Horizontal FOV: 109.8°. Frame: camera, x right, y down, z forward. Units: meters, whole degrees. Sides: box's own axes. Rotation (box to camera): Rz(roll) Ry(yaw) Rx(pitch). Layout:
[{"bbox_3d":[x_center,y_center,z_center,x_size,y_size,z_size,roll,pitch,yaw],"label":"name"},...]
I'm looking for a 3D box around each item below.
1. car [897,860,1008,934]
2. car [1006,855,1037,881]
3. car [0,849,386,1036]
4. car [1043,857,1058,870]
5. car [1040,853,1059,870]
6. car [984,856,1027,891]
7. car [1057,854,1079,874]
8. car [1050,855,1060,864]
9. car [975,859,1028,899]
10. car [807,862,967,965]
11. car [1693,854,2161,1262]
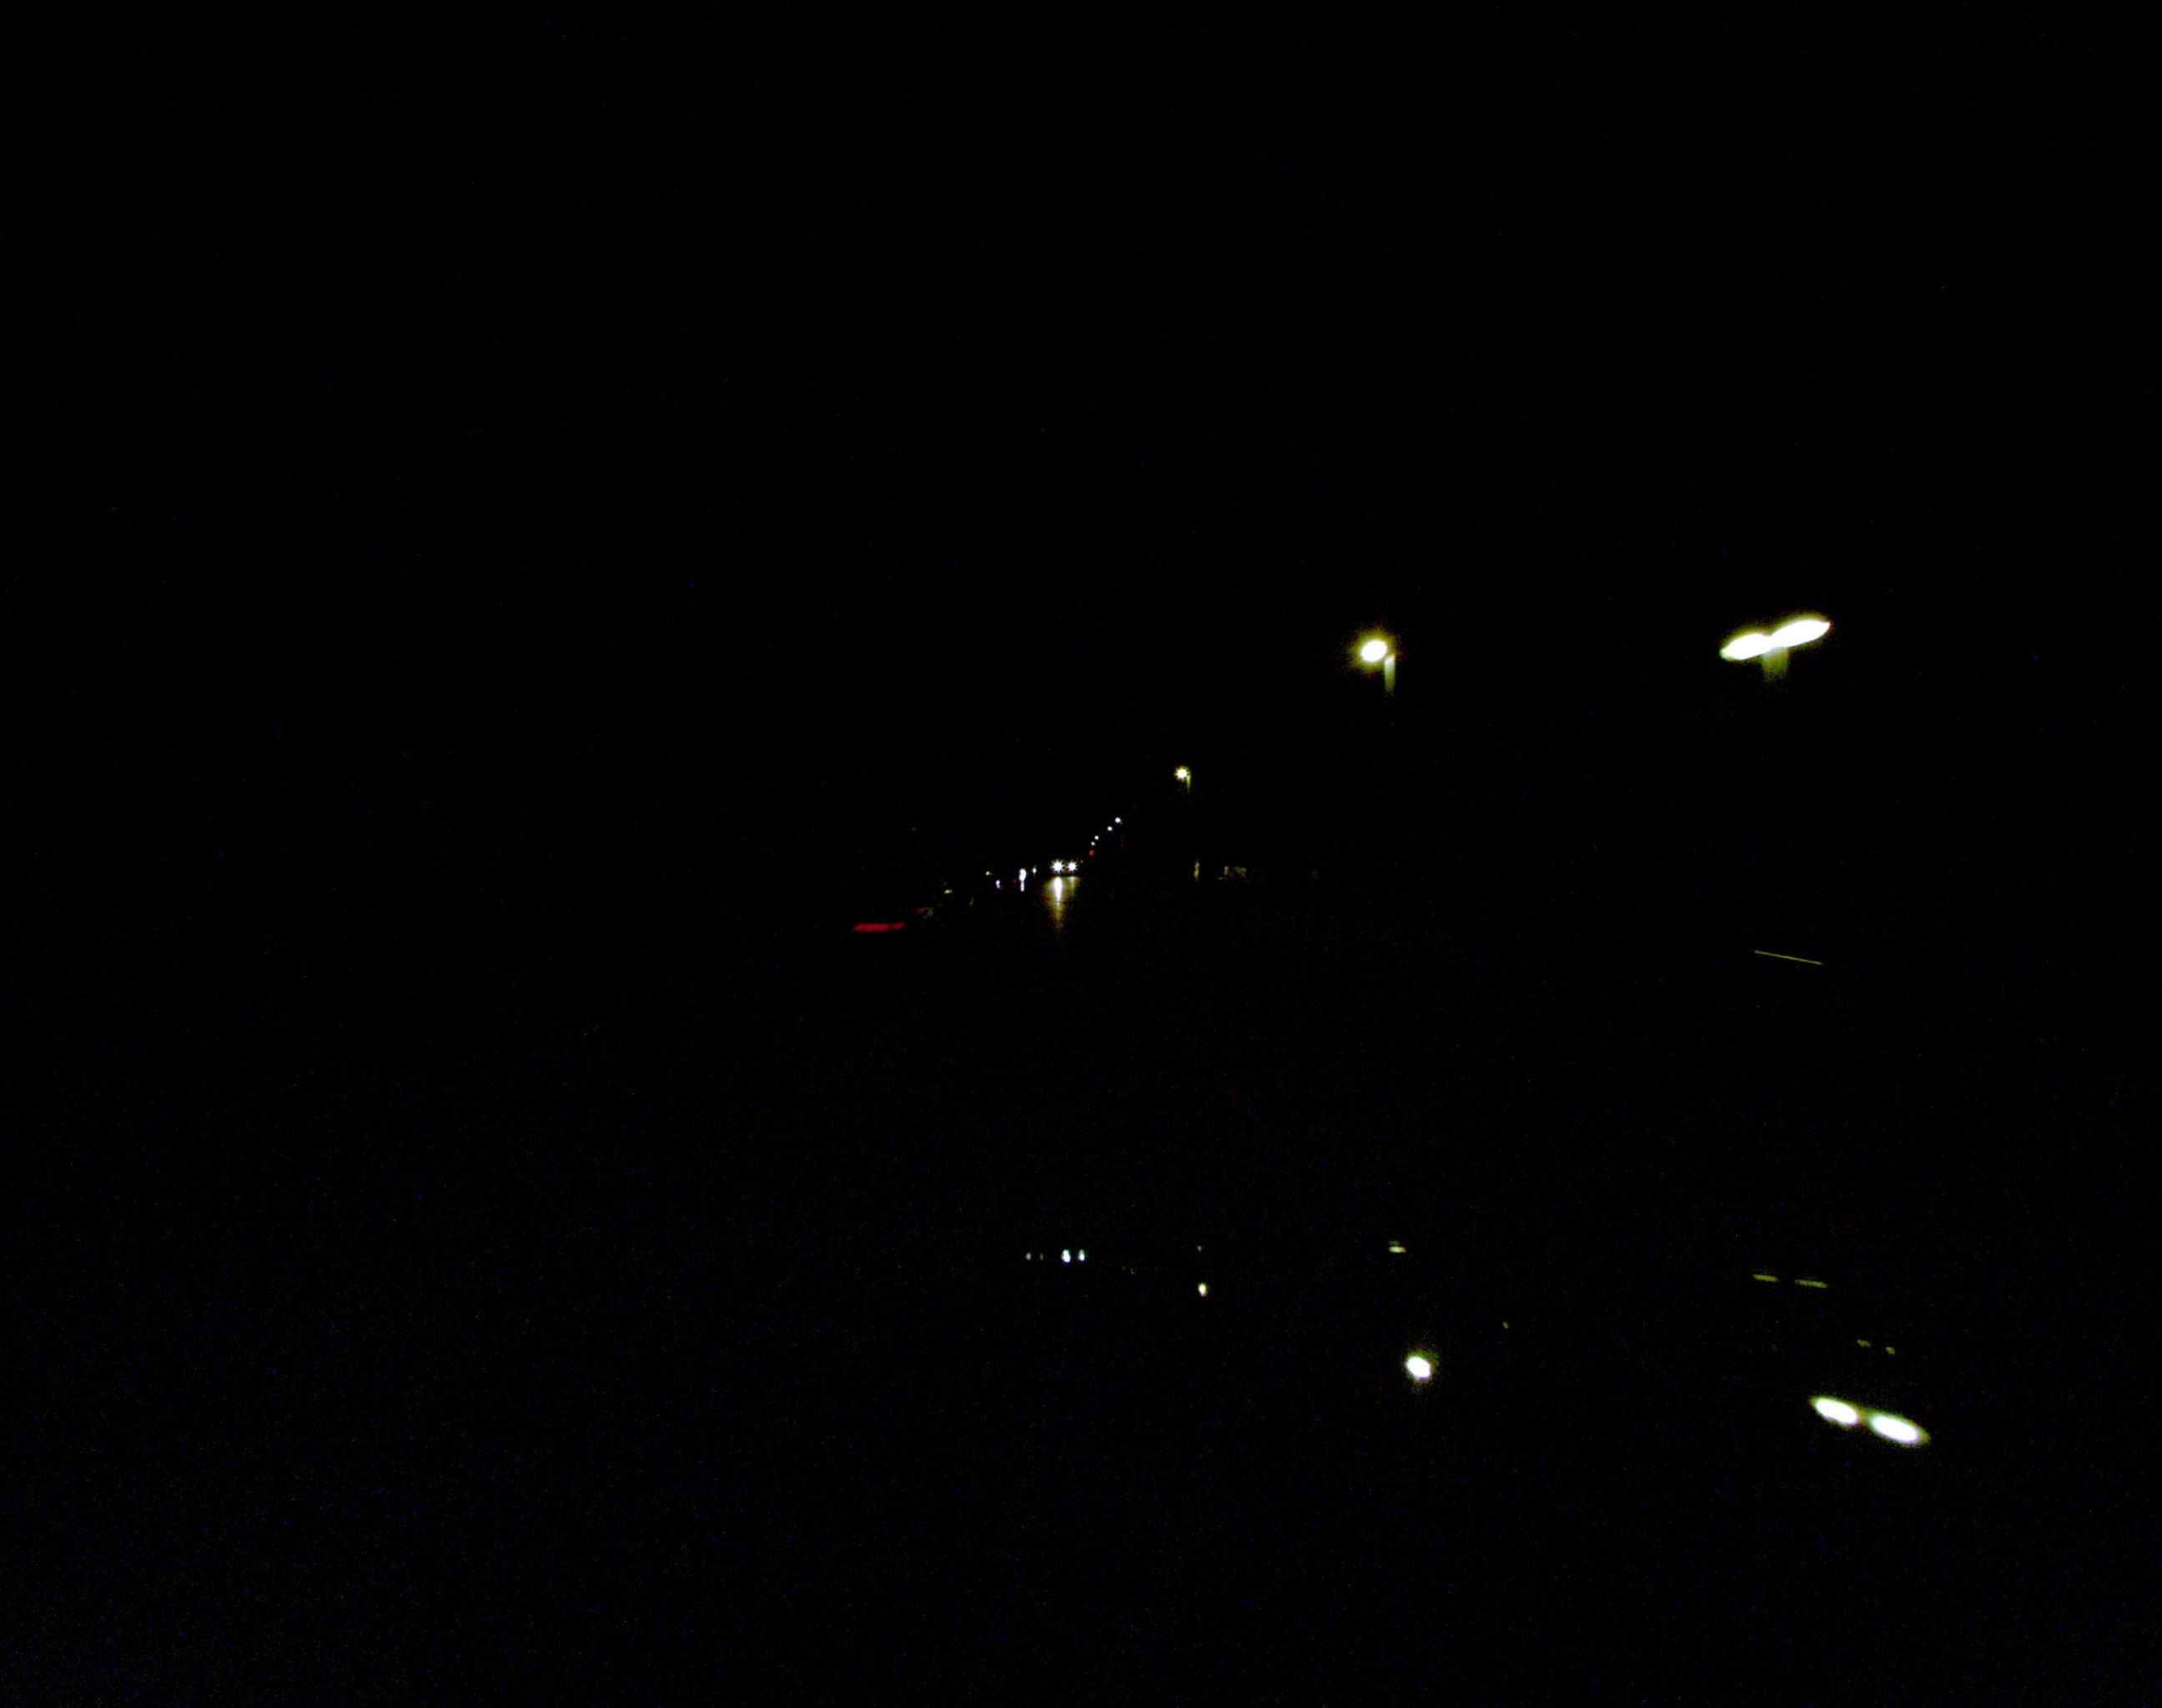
[{"bbox_3d":[-2.907,0.922,18.152,1.680,1.439,4.612,-1,0,2],"label":"car"},{"bbox_3d":[-3.522,0.812,45.312,1.681,1.439,3.999,0,0,-3],"label":"car"},{"bbox_3d":[-9.624,0.760,7.304,4.076,1.576,1.703,0,1,-31],"label":"car"},{"bbox_3d":[-3.702,1.171,92.093,1.702,1.447,3.713,-1,0,-2],"label":"car"},{"bbox_3d":[-2.861,0.671,69.235,1.656,1.465,3.516,-1,0,-2],"label":"car"},{"bbox_3d":[-3.432,0.865,35.074,1.643,1.458,3.775,-1,0,-1],"label":"car"},{"bbox_3d":[-1.037,0.746,58.220,1.628,1.496,3.549,-1,0,-2],"label":"car"},{"bbox_3d":[-4.195,0.904,122.900,1.702,1.447,3.713,-1,0,-2],"label":"car"},{"bbox_3d":[-3.039,0.920,29.786,1.767,1.407,4.439,-1,0,-2],"label":"car"},{"bbox_3d":[-3.204,0.906,13.447,1.784,1.429,4.288,-1,0,-1],"label":"car"},{"bbox_3d":[5.022,0.806,3.301,1.696,1.515,3.690,-1,1,-1],"label":"car"}]
